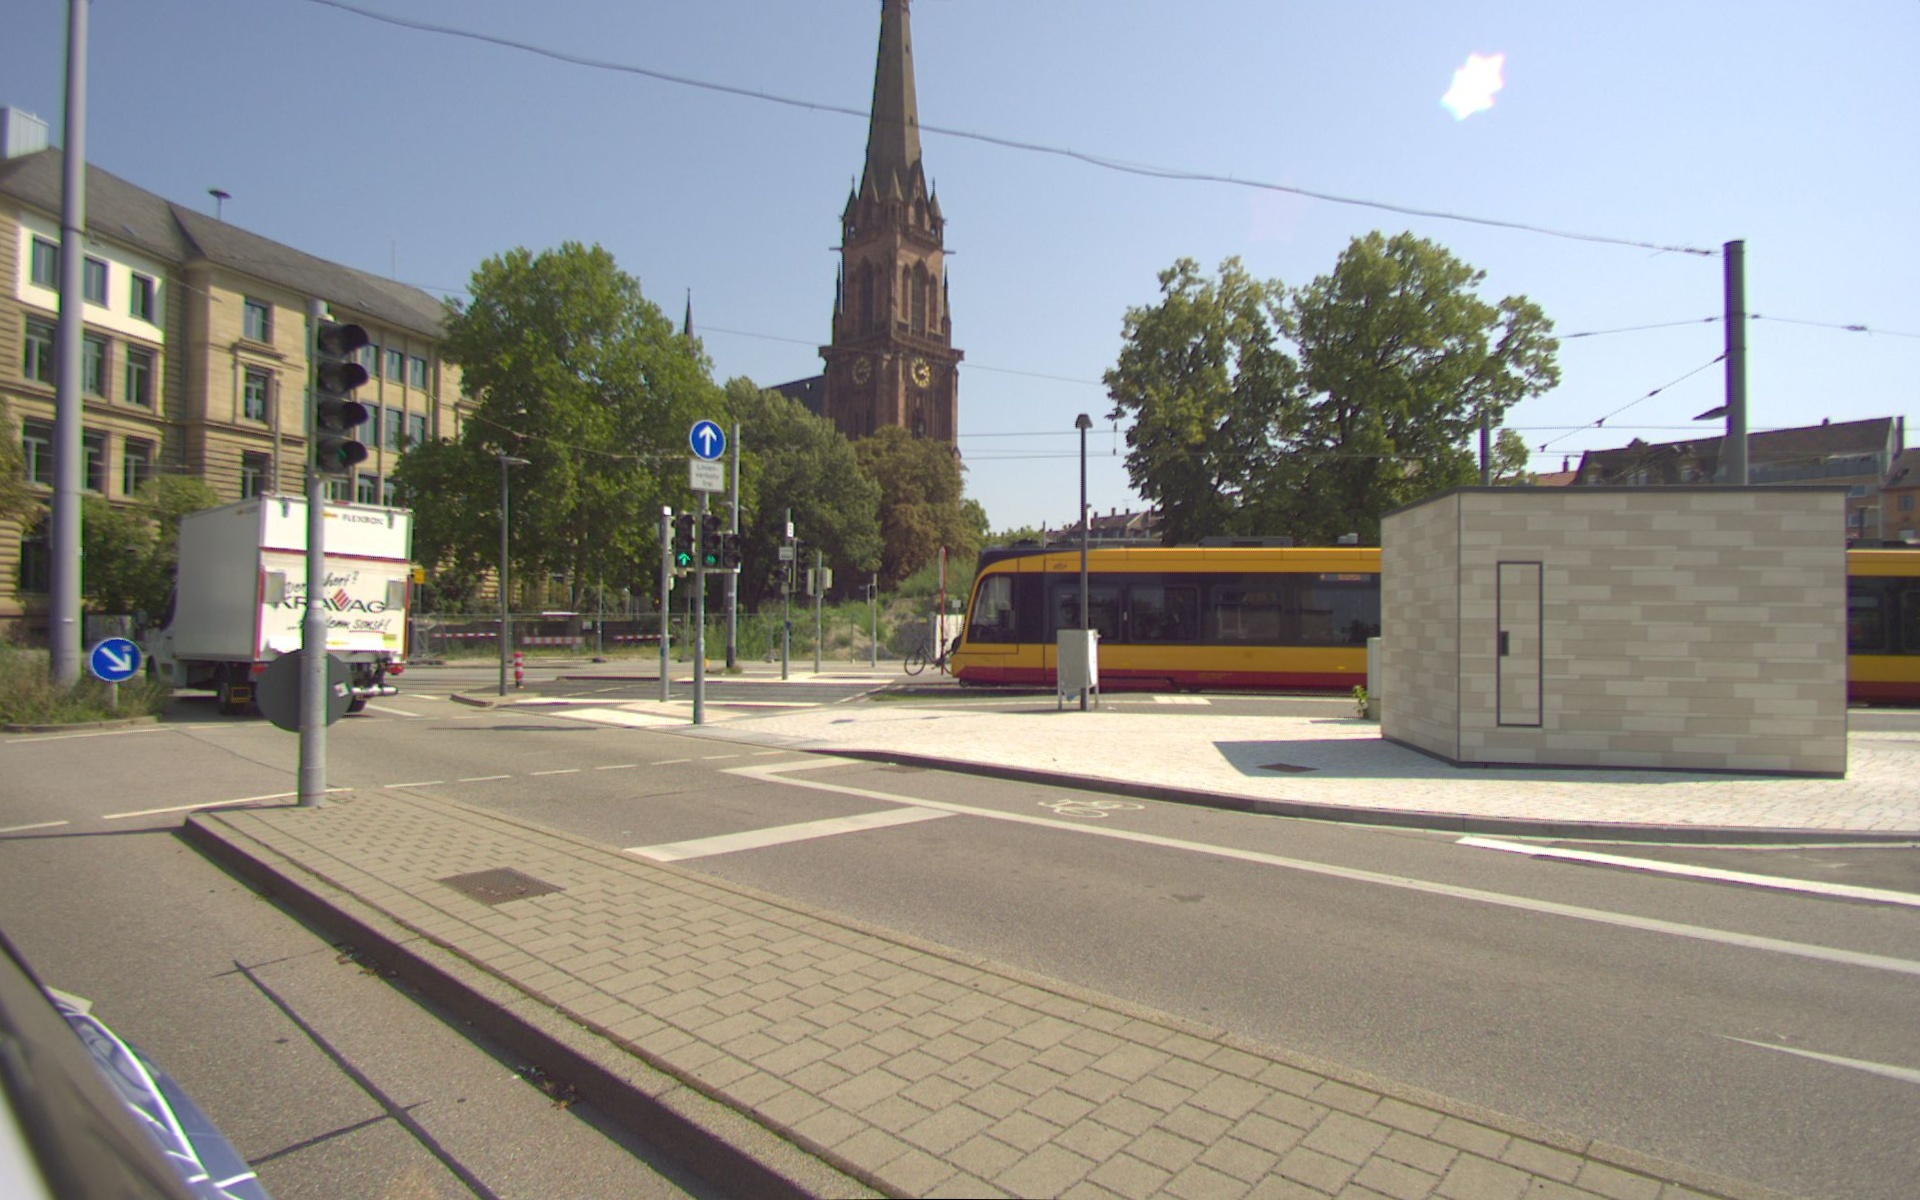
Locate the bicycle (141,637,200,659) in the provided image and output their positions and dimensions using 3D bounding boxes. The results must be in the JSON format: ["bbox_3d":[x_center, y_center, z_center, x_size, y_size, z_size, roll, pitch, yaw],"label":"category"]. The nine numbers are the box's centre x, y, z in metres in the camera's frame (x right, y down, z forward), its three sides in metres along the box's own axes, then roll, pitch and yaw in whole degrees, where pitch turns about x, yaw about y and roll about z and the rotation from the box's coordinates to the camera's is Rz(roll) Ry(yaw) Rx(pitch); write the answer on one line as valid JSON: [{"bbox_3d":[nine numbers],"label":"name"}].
[{"bbox_3d":[-33.950,2.061,43.558,0.740,0.901,2.178,0,-2,3],"label":"bicycle"}]

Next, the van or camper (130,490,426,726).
[{"bbox_3d":[-12.001,0.198,17.509,7.185,3.331,2.375,-1,-3,41],"label":"van or camper"}]

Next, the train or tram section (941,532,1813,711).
[{"bbox_3d":[8.443,0.417,22.710,17.529,3.575,2.859,0,-1,7],"label":"train or tram section"}]

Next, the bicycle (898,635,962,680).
[{"bbox_3d":[-0.841,1.603,28.517,1.687,1.232,0.607,0,-2,12],"label":"bicycle"}]

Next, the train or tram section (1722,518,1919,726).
[{"bbox_3d":[26.536,0.475,20.262,18.915,4.099,2.889,0,-1,8],"label":"train or tram section"}]
